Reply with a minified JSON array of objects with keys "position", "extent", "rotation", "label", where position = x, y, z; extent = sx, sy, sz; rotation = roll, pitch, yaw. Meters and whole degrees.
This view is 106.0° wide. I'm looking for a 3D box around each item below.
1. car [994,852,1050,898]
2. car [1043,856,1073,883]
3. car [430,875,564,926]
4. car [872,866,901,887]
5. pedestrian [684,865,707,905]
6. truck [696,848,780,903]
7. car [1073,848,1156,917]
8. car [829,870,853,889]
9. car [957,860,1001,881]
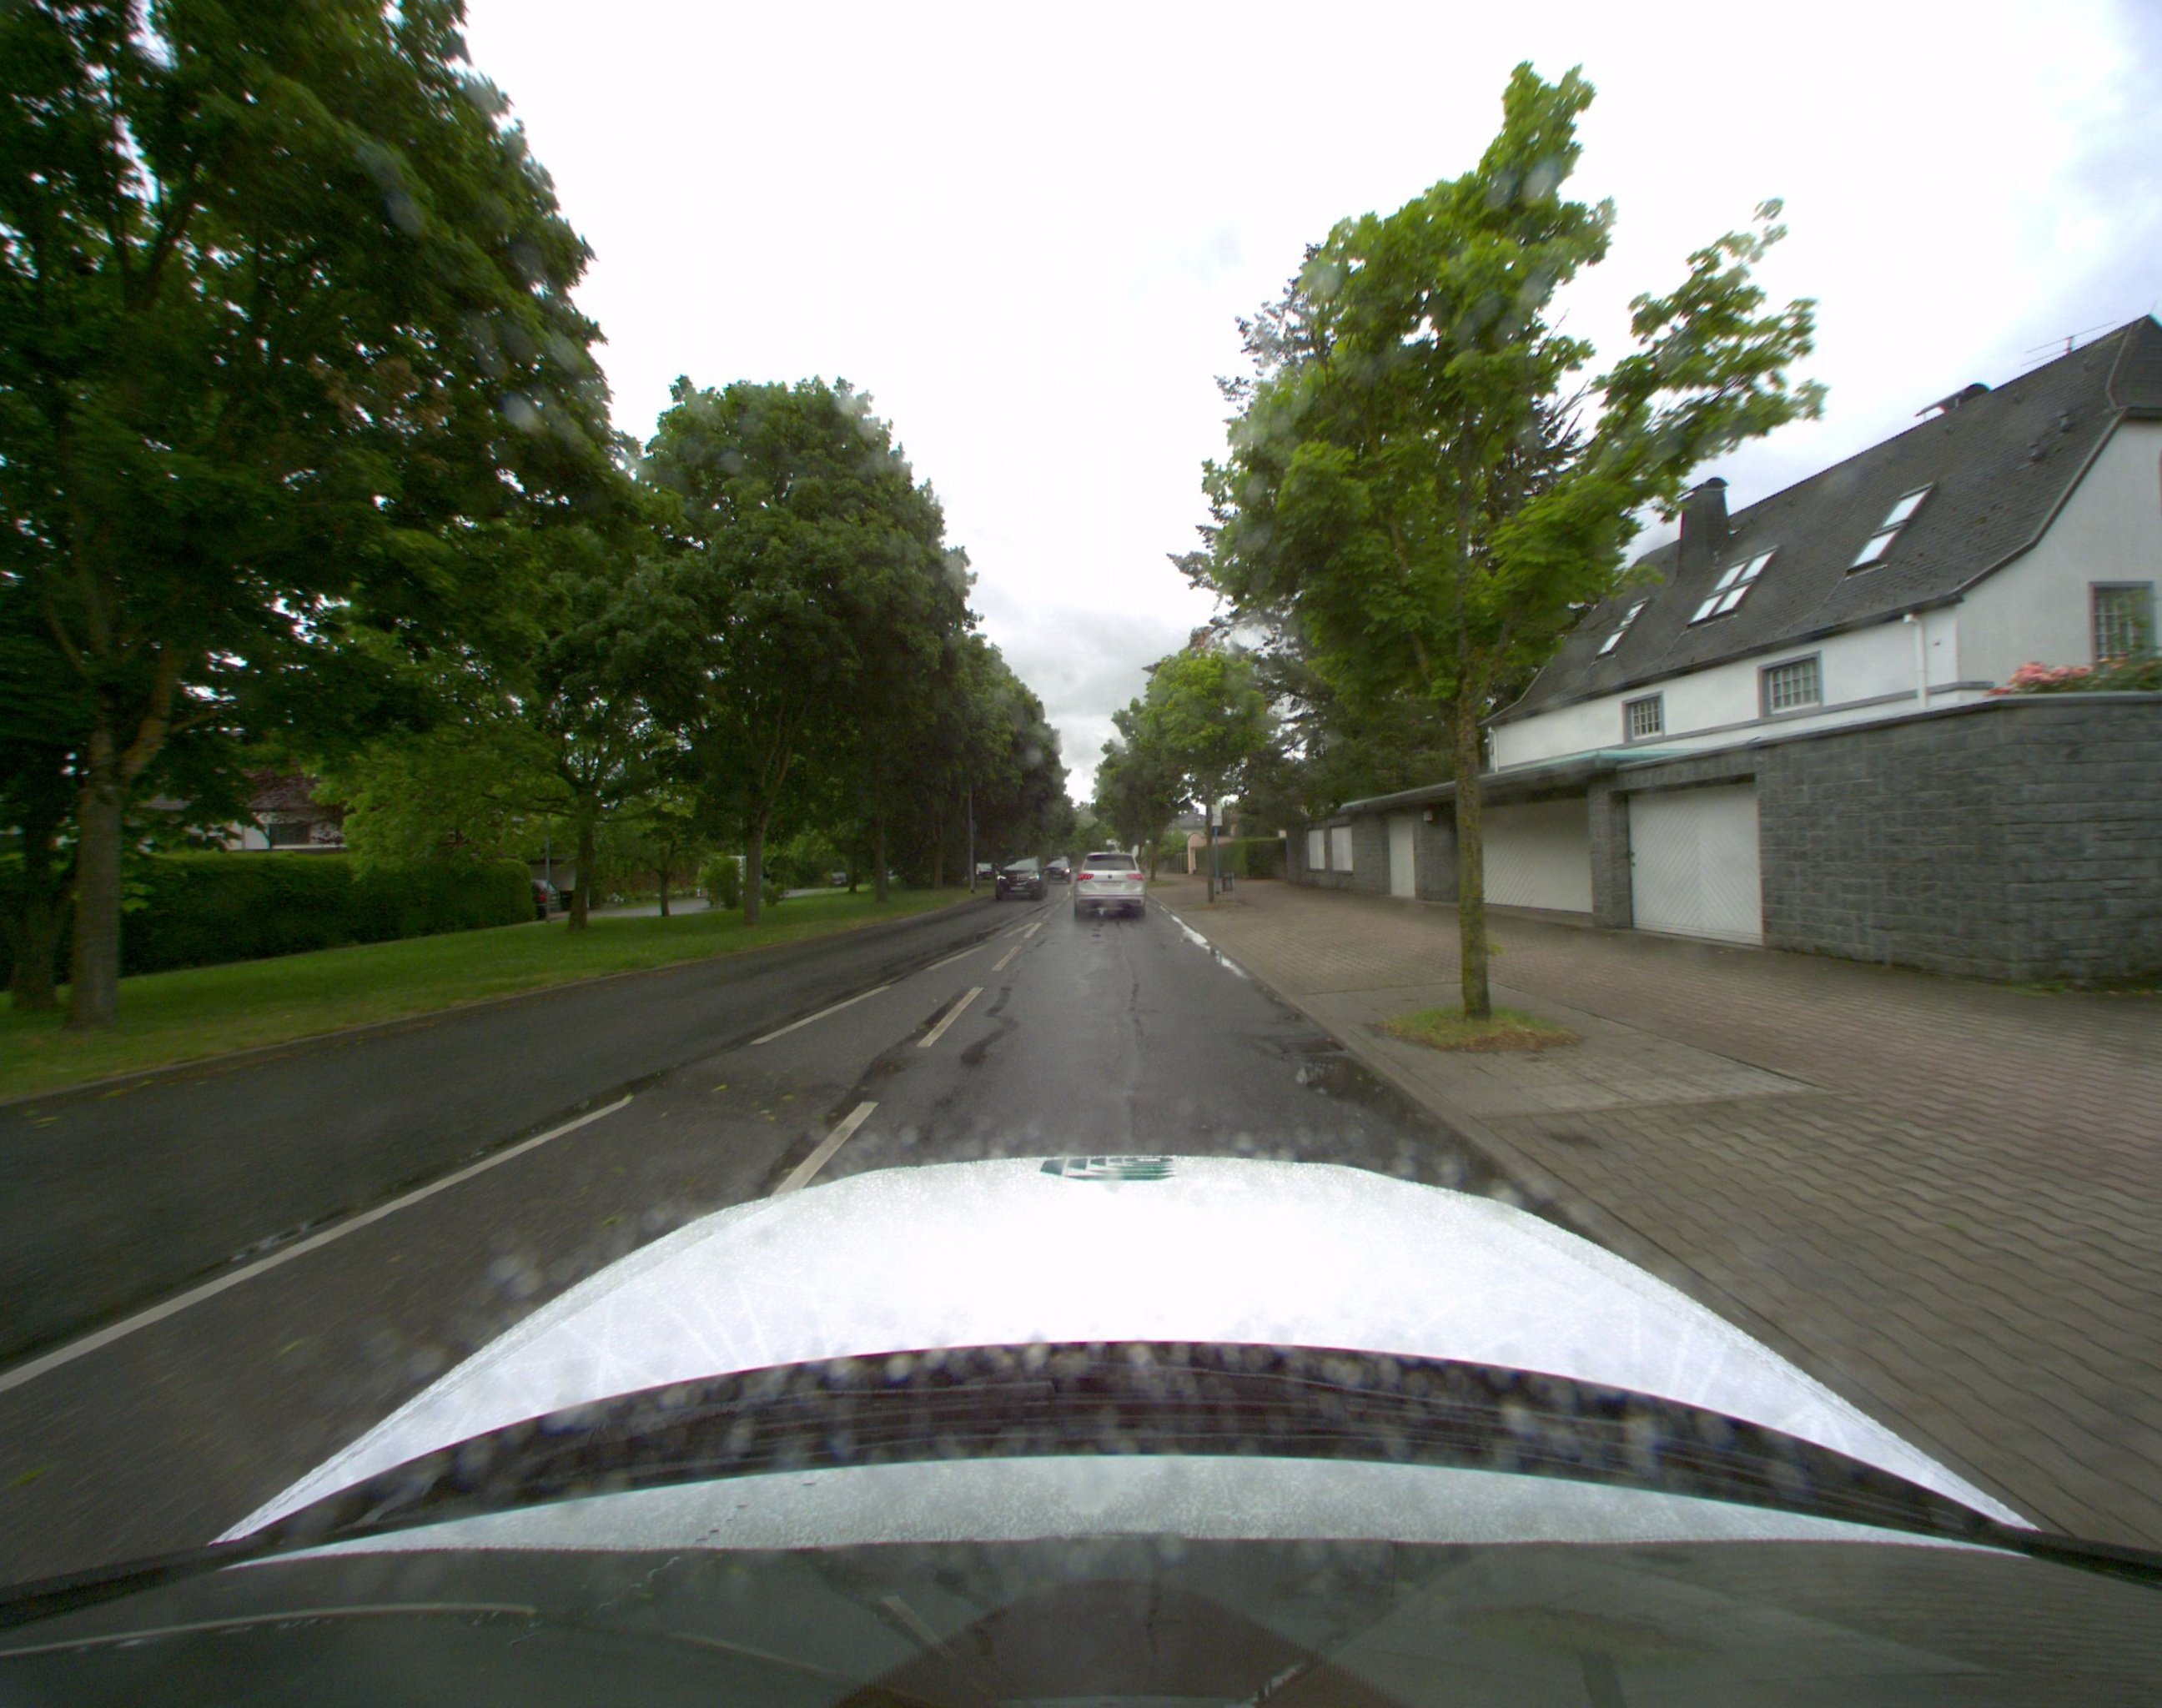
[{"position":[-2.237,0.787,31.686],"extent":[1.808,1.648,4.000],"rotation":[-1,0,1],"label":"car"},{"position":[-1.531,1.006,54.418],"extent":[1.750,1.648,4.001],"rotation":[-1,0,1],"label":"car"},{"position":[-24.075,1.889,33.714],"extent":[3.986,1.816,1.874],"rotation":[-2,0,-9],"label":"car"},{"position":[-14.631,1.679,61.454],"extent":[1.841,1.482,3.986],"rotation":[-2,0,-10],"label":"car"},{"position":[-18.640,1.488,39.387],"extent":[0.708,1.841,0.823],"rotation":[-2,0,-4],"label":"pedestrian"},{"position":[-17.978,1.068,43.084],"extent":[2.281,2.597,5.863],"rotation":[-2,0,-5],"label":"truck"},{"position":[0.794,0.692,21.829],"extent":[1.991,1.632,3.998],"rotation":[-1,0,-1],"label":"car"},{"position":[-21.333,2.240,72.500],"extent":[1.476,1.530,3.107],"rotation":[-2,0,-6],"label":"car"},{"position":[-8.043,1.296,63.969],"extent":[1.854,1.482,3.958],"rotation":[-2,0,-33],"label":"car"}]
